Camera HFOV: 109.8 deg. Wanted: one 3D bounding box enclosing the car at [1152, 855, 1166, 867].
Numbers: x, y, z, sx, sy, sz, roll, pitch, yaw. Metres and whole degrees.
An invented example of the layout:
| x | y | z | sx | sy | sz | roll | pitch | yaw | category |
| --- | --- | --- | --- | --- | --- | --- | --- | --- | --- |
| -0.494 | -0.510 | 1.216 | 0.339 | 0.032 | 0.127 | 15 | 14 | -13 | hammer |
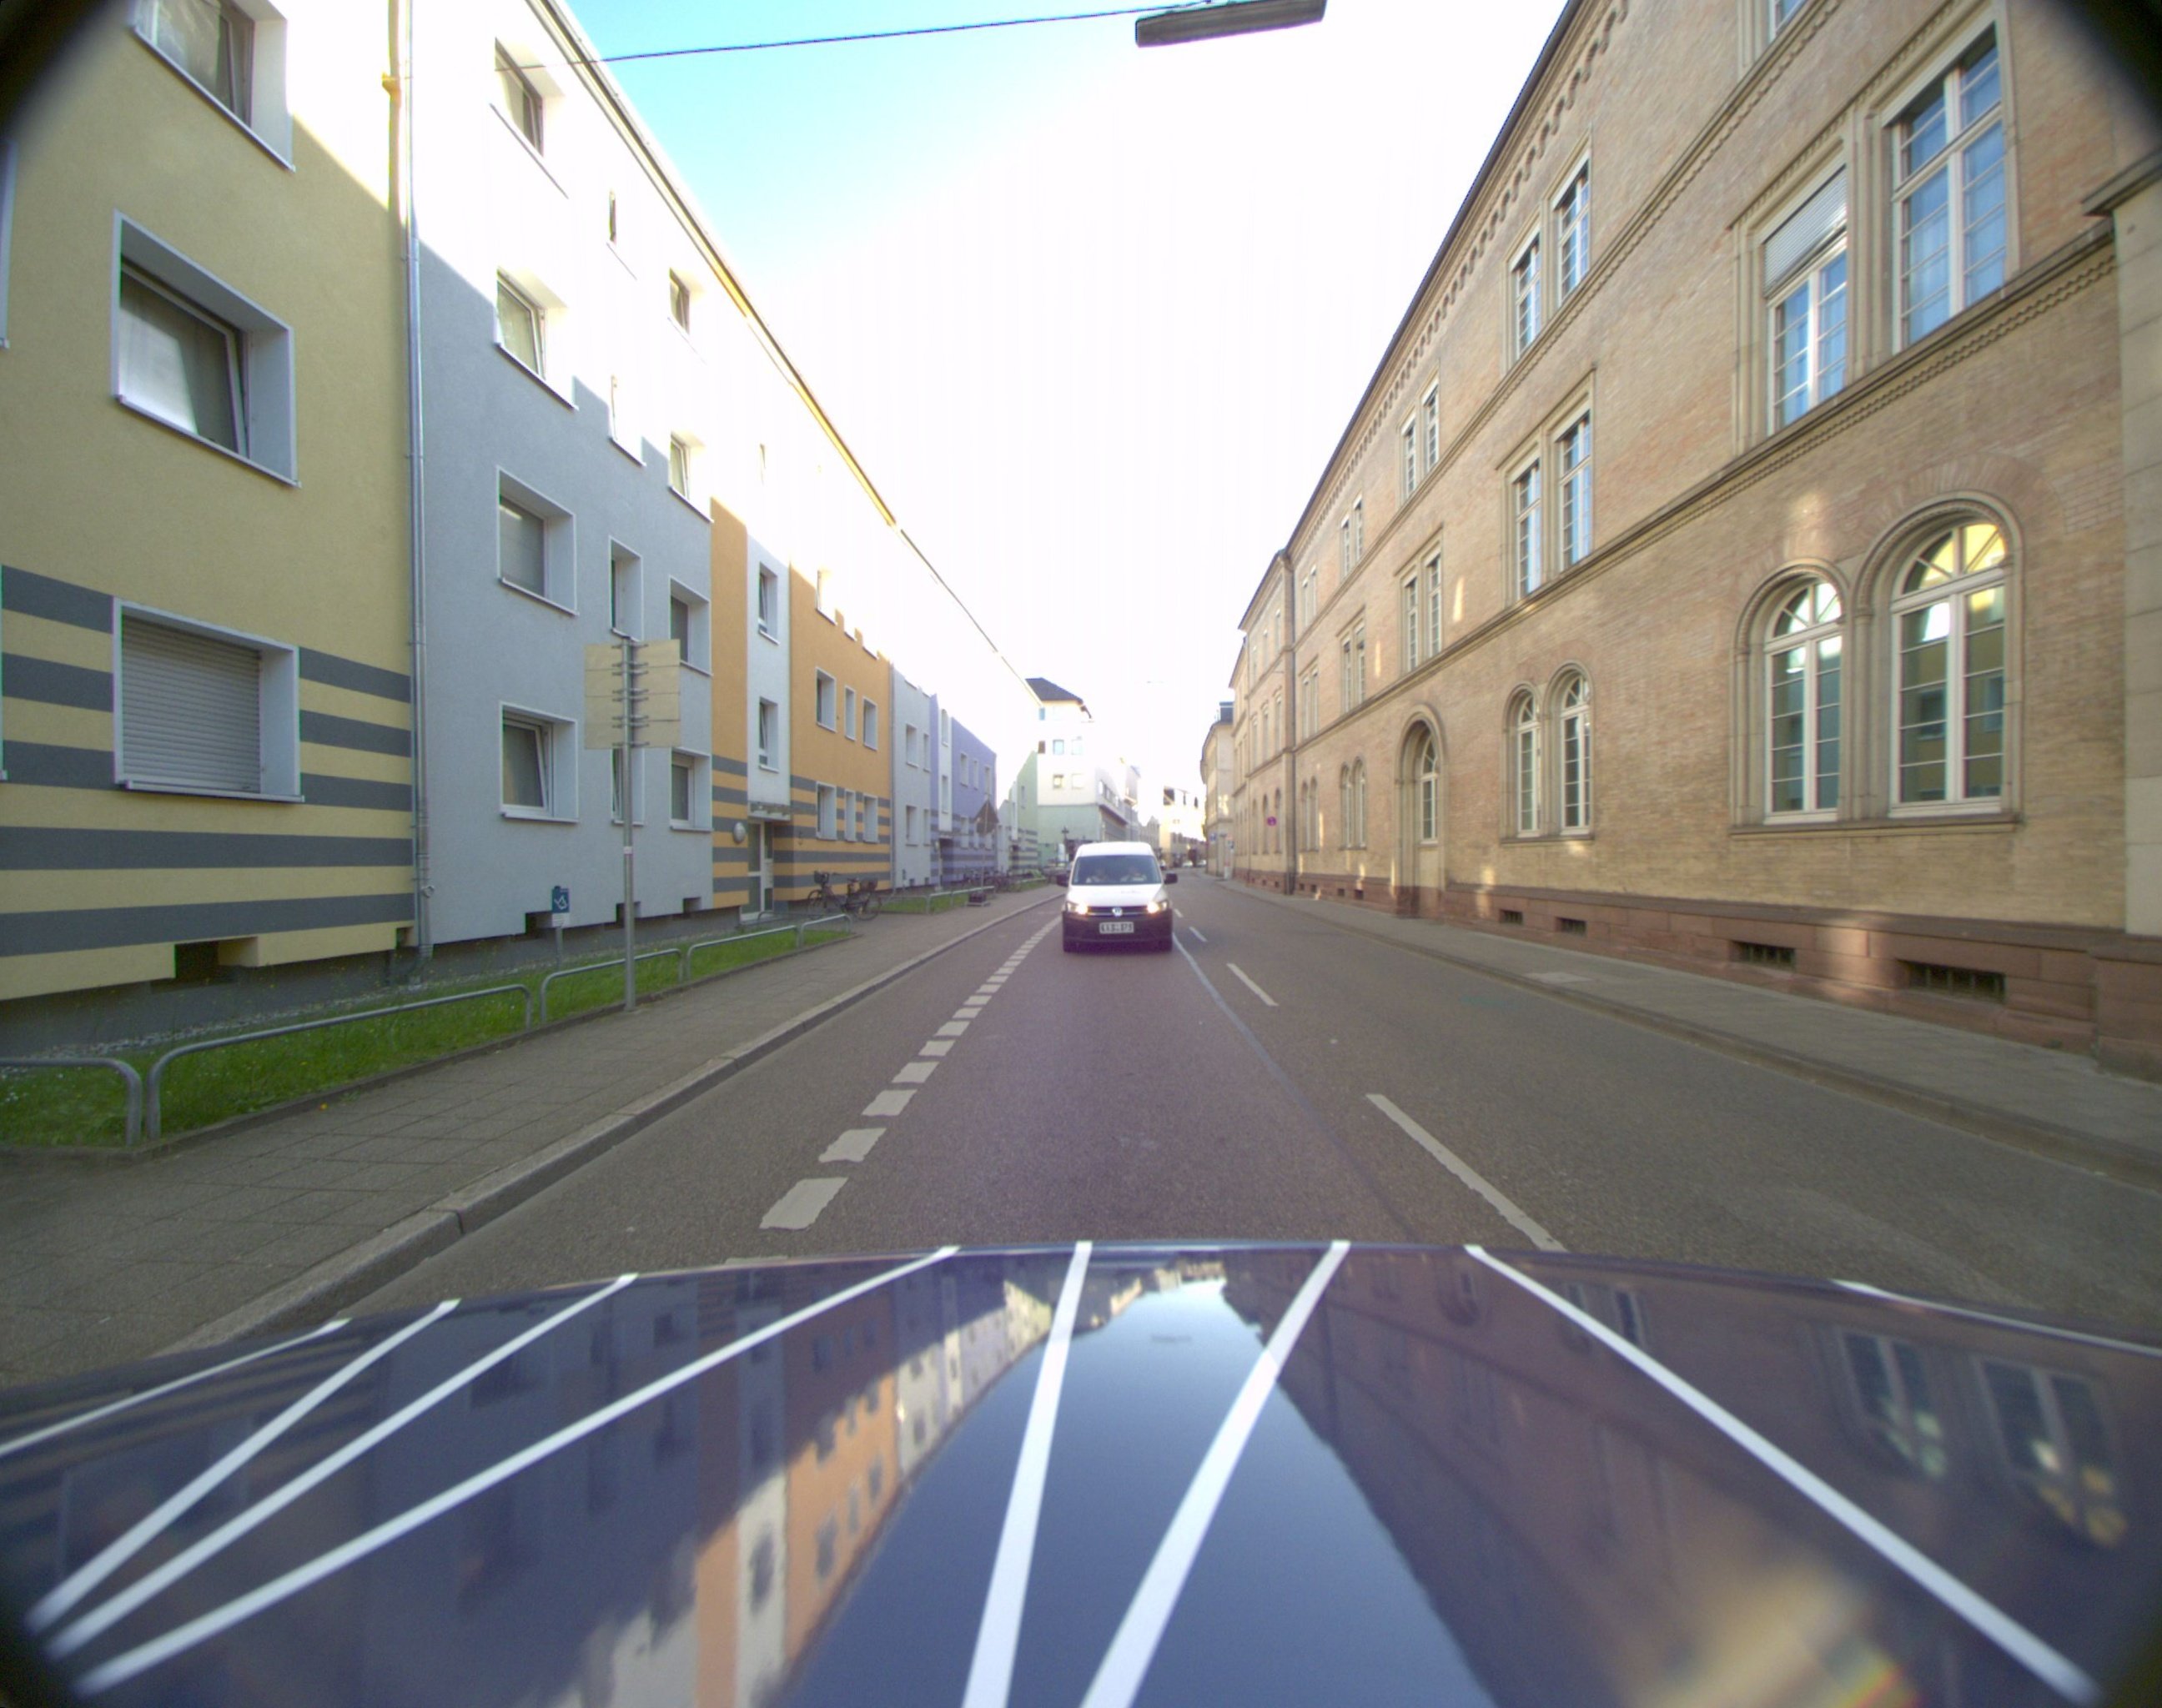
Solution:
| x | y | z | sx | sy | sz | roll | pitch | yaw | category |
| --- | --- | --- | --- | --- | --- | --- | --- | --- | --- |
| 12.661 | 1.135 | 122.710 | 1.997 | 1.643 | 4.231 | -2 | 1 | 9 | car |

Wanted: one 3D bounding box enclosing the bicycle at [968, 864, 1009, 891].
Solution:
| x | y | z | sx | sy | sz | roll | pitch | yaw | category |
| --- | --- | --- | --- | --- | --- | --- | --- | --- | --- |
| -4.026 | 1.005 | 33.147 | 1.676 | 1.145 | 0.484 | 0 | 0 | 4 | bicycle |

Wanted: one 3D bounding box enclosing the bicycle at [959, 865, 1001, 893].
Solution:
| x | y | z | sx | sy | sz | roll | pitch | yaw | category |
| --- | --- | --- | --- | --- | --- | --- | --- | --- | --- |
| -4.230 | 1.033 | 31.853 | 1.676 | 1.145 | 0.484 | 0 | 0 | 4 | bicycle |

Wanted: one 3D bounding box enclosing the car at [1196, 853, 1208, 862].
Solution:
| x | y | z | sx | sy | sz | roll | pitch | yaw | category |
| --- | --- | --- | --- | --- | --- | --- | --- | --- | --- |
| 26.110 | 0.720 | 163.761 | 1.996 | 1.643 | 4.233 | -2 | 1 | 17 | car |

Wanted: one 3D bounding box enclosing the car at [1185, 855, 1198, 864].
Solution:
| x | y | z | sx | sy | sz | roll | pitch | yaw | category |
| --- | --- | --- | --- | --- | --- | --- | --- | --- | --- |
| 22.126 | 1.011 | 152.031 | 1.996 | 1.643 | 4.233 | -2 | 1 | 17 | car |

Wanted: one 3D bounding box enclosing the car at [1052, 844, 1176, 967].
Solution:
| x | y | z | sx | sy | sz | roll | pitch | yaw | category |
| --- | --- | --- | --- | --- | --- | --- | --- | --- | --- |
| 0.559 | 0.709 | 13.643 | 1.769 | 1.761 | 5.331 | -1 | 1 | 2 | car |

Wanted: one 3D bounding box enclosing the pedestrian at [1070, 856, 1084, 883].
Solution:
| x | y | z | sx | sy | sz | roll | pitch | yaw | category |
| --- | --- | --- | --- | --- | --- | --- | --- | --- | --- |
| -0.230 | 0.936 | 46.308 | 0.705 | 1.627 | 0.833 | 2 | 2 | 5 | pedestrian |

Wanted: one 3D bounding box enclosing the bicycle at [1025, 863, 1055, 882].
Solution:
| x | y | z | sx | sy | sz | roll | pitch | yaw | category |
| --- | --- | --- | --- | --- | --- | --- | --- | --- | --- |
| -2.509 | 1.133 | 46.063 | 1.779 | 1.145 | 0.484 | 0 | 0 | 0 | bicycle |

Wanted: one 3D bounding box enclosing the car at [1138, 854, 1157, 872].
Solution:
| x | y | z | sx | sy | sz | roll | pitch | yaw | category |
| --- | --- | --- | --- | --- | --- | --- | --- | --- | --- |
| 9.426 | 1.193 | 107.099 | 2.103 | 2.264 | 5.506 | -2 | 1 | 11 | car |

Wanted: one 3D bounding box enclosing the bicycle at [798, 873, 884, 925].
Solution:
| x | y | z | sx | sy | sz | roll | pitch | yaw | category |
| --- | --- | --- | --- | --- | --- | --- | --- | --- | --- |
| -5.381 | 1.006 | 17.116 | 1.780 | 1.116 | 0.484 | 0 | 0 | -5 | bicycle |

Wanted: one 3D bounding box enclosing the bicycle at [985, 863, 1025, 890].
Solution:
| x | y | z | sx | sy | sz | roll | pitch | yaw | category |
| --- | --- | --- | --- | --- | --- | --- | --- | --- | --- |
| -3.367 | 0.988 | 33.692 | 1.676 | 1.145 | 0.484 | 0 | 0 | 4 | bicycle |

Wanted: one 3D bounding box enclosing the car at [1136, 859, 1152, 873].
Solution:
| x | y | z | sx | sy | sz | roll | pitch | yaw | category |
| --- | --- | --- | --- | --- | --- | --- | --- | --- | --- |
| 8.391 | 1.554 | 100.964 | 1.998 | 1.643 | 4.230 | -2 | 1 | 6 | car |

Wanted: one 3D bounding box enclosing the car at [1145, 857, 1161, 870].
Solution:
| x | y | z | sx | sy | sz | roll | pitch | yaw | category |
| --- | --- | --- | --- | --- | --- | --- | --- | --- | --- |
| 10.690 | 1.382 | 113.012 | 1.997 | 1.643 | 4.231 | -2 | 1 | 10 | car |
